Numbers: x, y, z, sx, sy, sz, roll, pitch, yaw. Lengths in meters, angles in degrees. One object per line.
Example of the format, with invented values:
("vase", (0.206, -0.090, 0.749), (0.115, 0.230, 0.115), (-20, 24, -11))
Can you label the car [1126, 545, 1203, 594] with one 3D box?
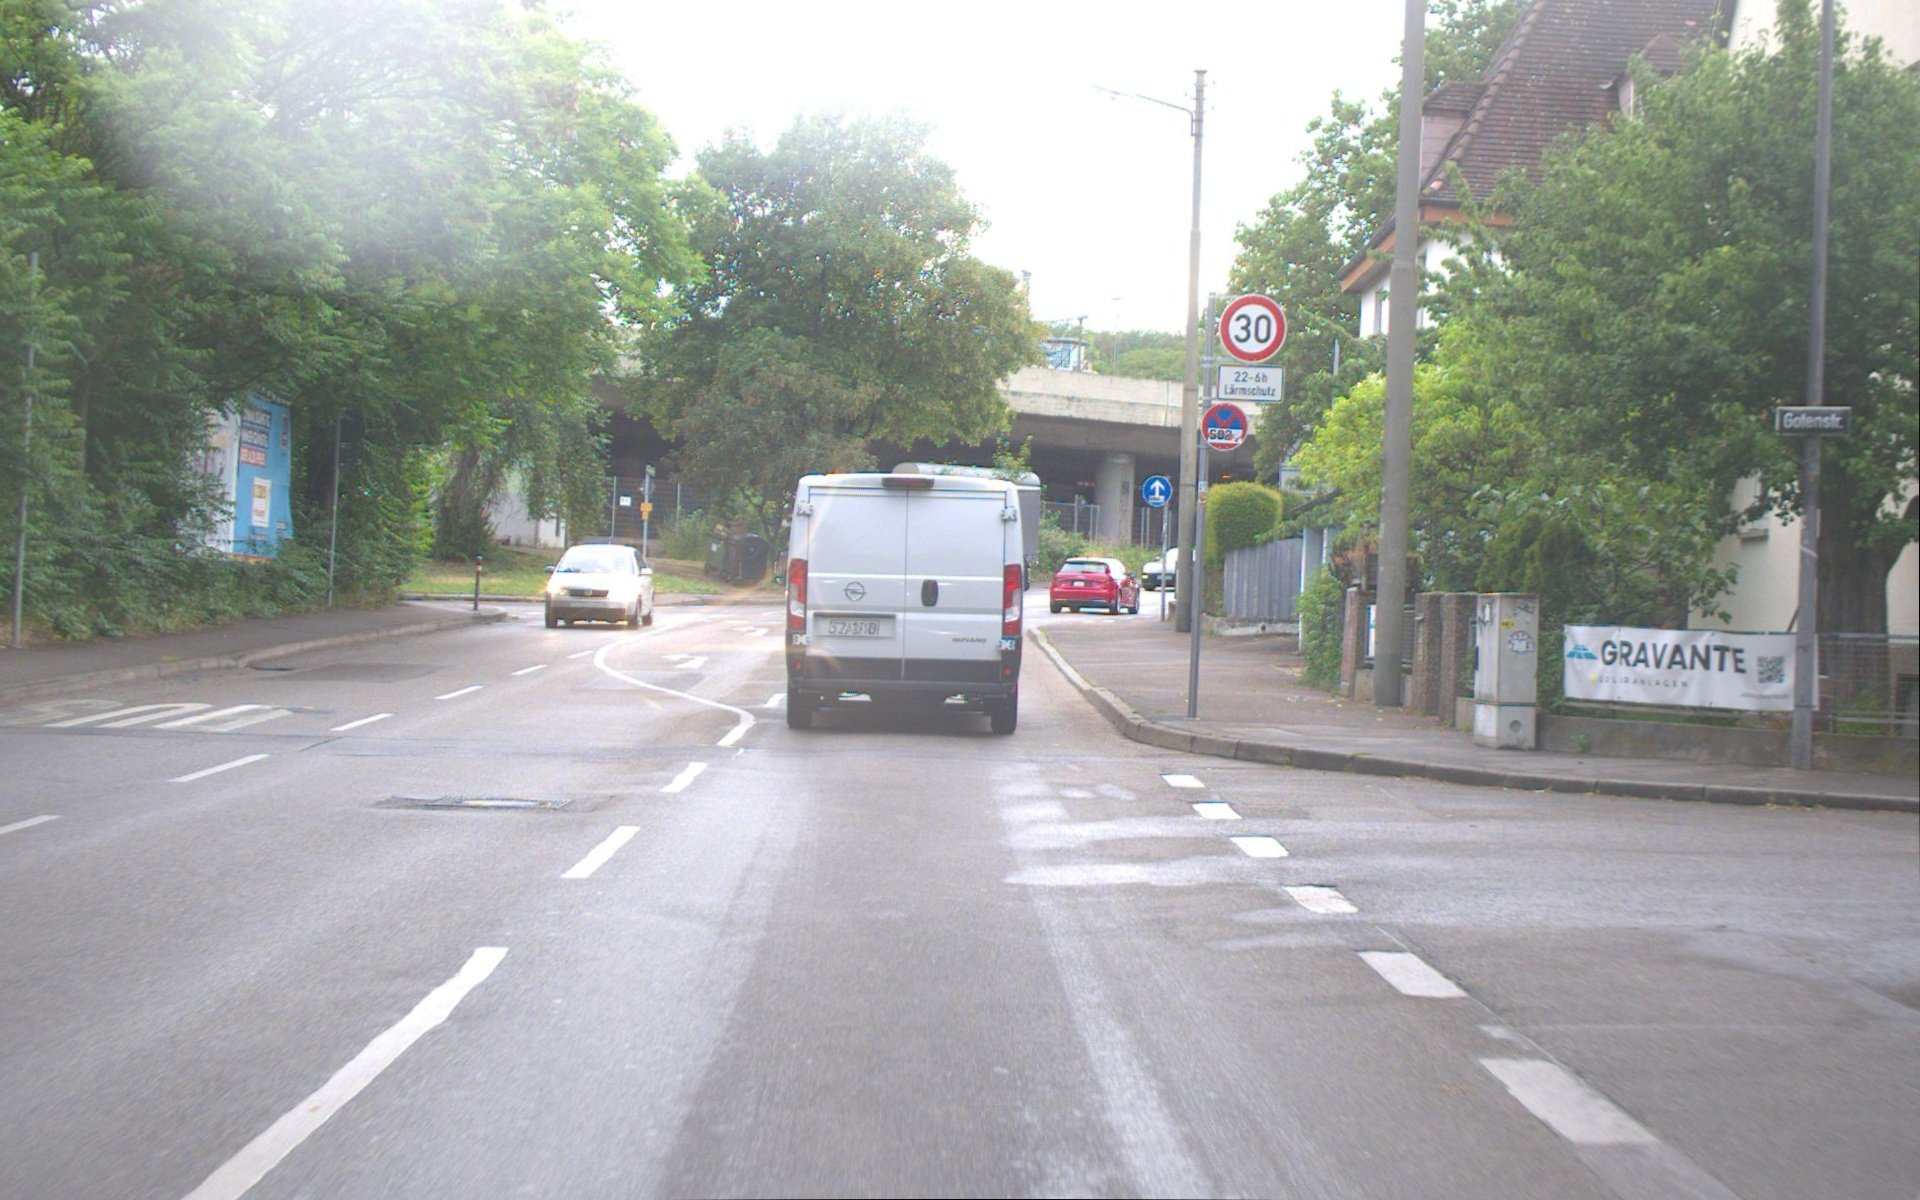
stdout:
("car", (6.798, -0.981, 113.713), (1.994, 1.451, 4.827), (2, 0, 10))

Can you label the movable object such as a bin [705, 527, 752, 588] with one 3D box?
("movable object such as a bin", (-6.427, -1.177, 95.477), (0.940, 1.558, 1.130), (8, 1, 4))

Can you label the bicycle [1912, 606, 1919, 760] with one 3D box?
("bicycle", (7.727, 0.616, 24.793), (1.571, 1.111, 0.457), (1, 1, 4))

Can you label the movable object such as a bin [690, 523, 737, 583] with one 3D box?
("movable object such as a bin", (-6.941, -1.335, 96.789), (0.940, 1.558, 1.130), (8, 1, 4))

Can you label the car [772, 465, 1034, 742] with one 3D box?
("car", (-0.519, 0.013, 31.592), (2.146, 2.275, 5.063), (2, 0, -1))

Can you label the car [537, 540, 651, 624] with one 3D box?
("car", (-6.433, -0.342, 60.696), (1.654, 1.412, 3.936), (0, 1, -1))

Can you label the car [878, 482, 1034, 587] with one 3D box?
("car", (-0.057, -1.991, 107.394), (2.536, 3.008, 7.203), (3, 1, 19))

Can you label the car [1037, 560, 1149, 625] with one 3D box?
("car", (3.382, -0.177, 86.737), (1.767, 1.505, 3.751), (3, 1, 19))
